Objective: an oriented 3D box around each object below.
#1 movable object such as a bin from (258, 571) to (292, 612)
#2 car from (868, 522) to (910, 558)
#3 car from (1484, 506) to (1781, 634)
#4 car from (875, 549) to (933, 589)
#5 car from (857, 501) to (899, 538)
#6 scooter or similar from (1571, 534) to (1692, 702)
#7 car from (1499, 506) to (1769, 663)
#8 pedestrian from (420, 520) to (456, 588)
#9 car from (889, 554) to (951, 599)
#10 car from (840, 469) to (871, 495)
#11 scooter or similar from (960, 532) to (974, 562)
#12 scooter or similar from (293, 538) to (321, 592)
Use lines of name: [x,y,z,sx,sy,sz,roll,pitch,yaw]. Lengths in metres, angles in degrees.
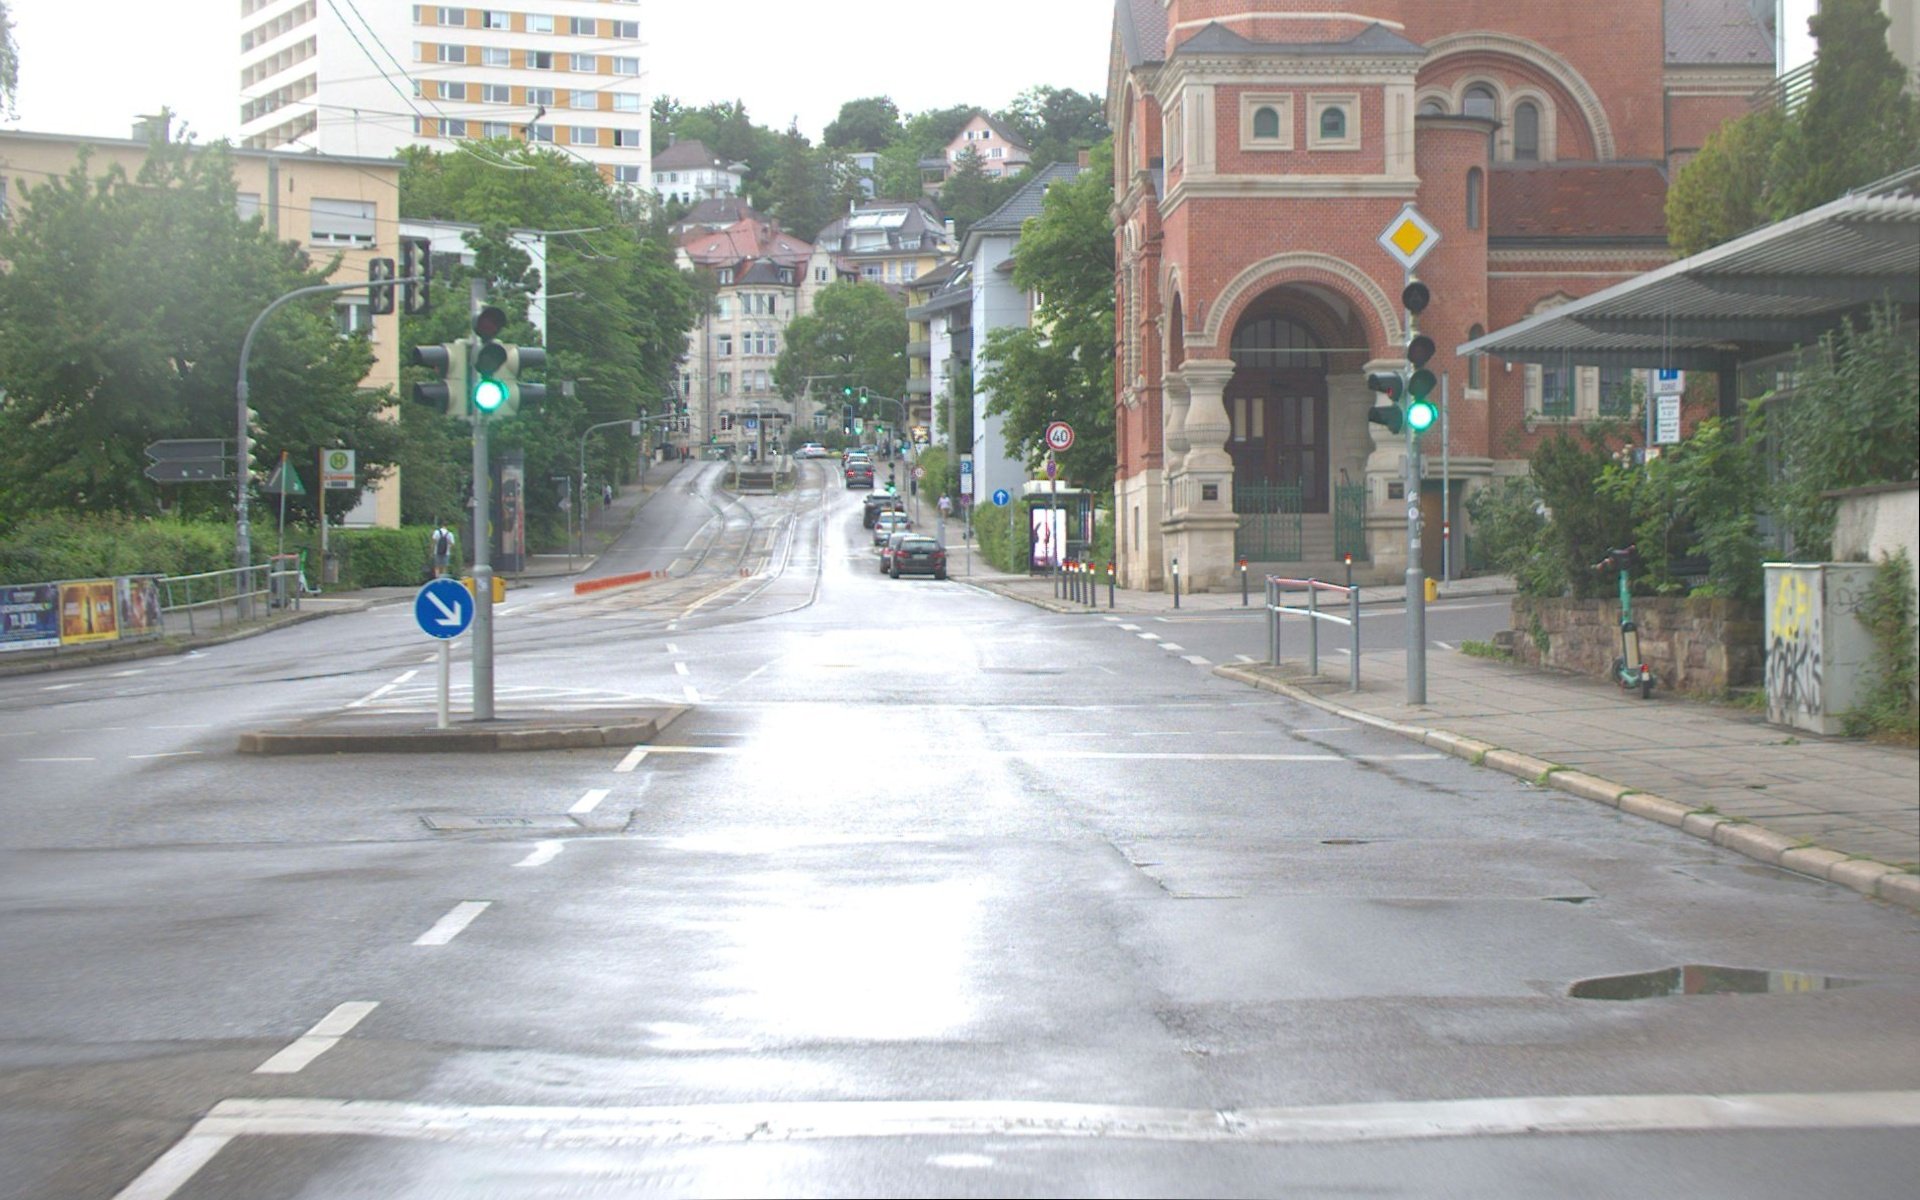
movable object such as a bin: [-15.095,-0.181,75.790,0.686,0.879,0.760,1,-1,-7]
car: [-3.199,-2.676,153.603,1.704,1.428,4.103,1,3,-3]
car: [9.358,-0.455,47.623,2.000,1.452,4.439,1,5,42]
car: [-2.111,-1.157,128.548,1.939,1.459,4.207,1,1,-4]
car: [-4.054,-4.001,169.924,1.906,1.636,4.691,1,3,-3]
scooter or similar: [5.594,0.138,28.713,0.534,1.323,1.659,-5,1,-1]
car: [7.229,-0.124,37.310,1.853,1.498,4.449,-3,-1,-2]
pedestrian: [-14.490,-1.269,95.440,0.918,1.839,1.017,1,0,-6]
car: [-1.391,-0.821,117.357,1.857,1.482,4.646,1,1,-4]
car: [-6.705,-7.580,221.212,1.802,1.640,4.000,1,1,1]
scooter or similar: [0.313,-2.386,154.496,0.575,1.245,1.610,0,5,3]
scooter or similar: [-14.740,-0.774,77.635,0.572,1.180,1.600,1,-1,-9]
